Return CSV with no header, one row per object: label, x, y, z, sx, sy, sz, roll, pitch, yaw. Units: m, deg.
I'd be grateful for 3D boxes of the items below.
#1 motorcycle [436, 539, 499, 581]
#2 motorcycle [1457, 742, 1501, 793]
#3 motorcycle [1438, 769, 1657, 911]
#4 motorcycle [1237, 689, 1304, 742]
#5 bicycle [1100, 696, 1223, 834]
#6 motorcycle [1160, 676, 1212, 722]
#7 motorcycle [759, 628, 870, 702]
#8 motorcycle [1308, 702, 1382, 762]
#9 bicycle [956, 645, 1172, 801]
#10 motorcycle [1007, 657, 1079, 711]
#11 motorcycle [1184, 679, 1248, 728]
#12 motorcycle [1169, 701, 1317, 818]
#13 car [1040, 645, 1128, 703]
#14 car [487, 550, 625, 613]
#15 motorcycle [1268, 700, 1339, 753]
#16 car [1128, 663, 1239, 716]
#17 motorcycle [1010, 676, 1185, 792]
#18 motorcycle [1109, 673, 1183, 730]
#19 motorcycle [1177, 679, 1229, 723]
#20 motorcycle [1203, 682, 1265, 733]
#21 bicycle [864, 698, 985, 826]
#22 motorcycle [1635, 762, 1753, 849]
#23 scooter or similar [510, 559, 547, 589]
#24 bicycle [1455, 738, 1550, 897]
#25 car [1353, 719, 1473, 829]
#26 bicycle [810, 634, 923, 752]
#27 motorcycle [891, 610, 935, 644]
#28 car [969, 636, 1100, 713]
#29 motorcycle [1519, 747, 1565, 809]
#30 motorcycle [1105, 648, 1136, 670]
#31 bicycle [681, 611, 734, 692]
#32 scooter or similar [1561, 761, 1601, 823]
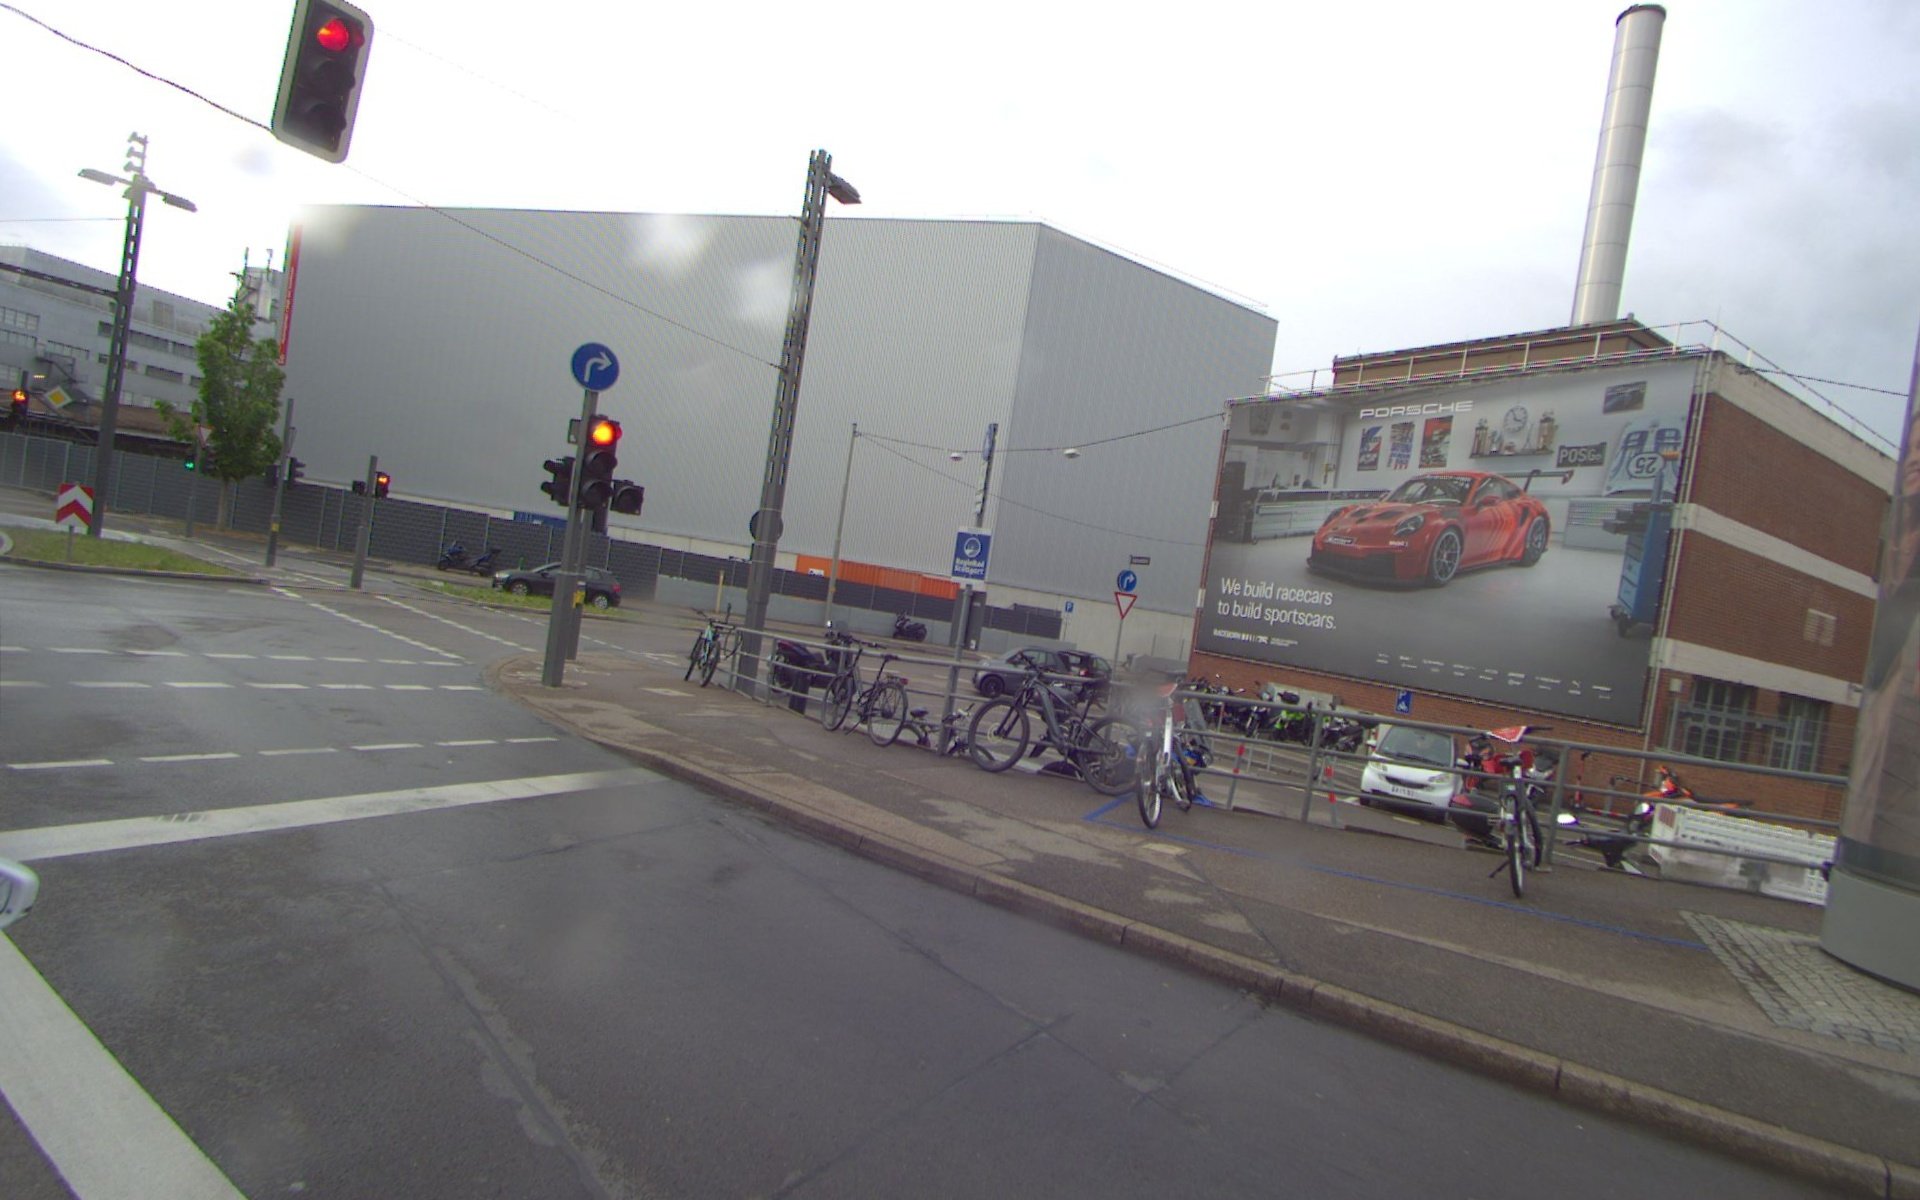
motorcycle,-19.823,-1.607,40.500,2.082,1.326,0.649,10,0,-33
motorcycle,11.383,3.646,22.042,0.533,0.984,1.613,6,-2,36
motorcycle,5.067,2.059,8.751,1.512,0.901,0.403,6,0,19
motorcycle,8.138,3.032,26.338,1.695,1.194,0.541,8,-2,-30
bicycle,1.728,1.323,8.422,0.414,0.973,1.744,6,-1,29
motorcycle,6.668,2.911,29.741,0.538,1.133,1.593,8,-2,-25
motorcycle,-2.616,1.208,18.356,0.481,1.158,2.086,6,-2,41
motorcycle,9.349,3.212,24.414,1.788,1.253,0.540,8,1,-30
bicycle,0.968,1.143,9.714,1.981,1.189,0.400,6,0,30
motorcycle,2.116,2.141,25.621,1.702,1.159,0.492,8,-2,-24
motorcycle,7.229,2.925,28.408,1.631,1.194,0.670,8,-2,-30
motorcycle,2.723,1.514,9.694,1.241,0.901,0.434,6,0,23
car,4.125,2.481,33.274,1.530,1.510,2.745,11,0,37
car,-13.482,-0.599,33.606,3.958,1.442,1.707,9,-1,-30
motorcycle,8.571,3.165,25.088,1.789,1.132,0.474,8,-2,-28
car,8.213,3.302,36.816,4.070,1.460,1.554,9,-2,-35
motorcycle,1.384,1.354,10.390,1.722,0.906,0.545,6,-1,44
motorcycle,4.455,2.433,24.236,0.539,1.123,1.850,8,-2,-32
motorcycle,7.386,3.059,30.629,0.538,1.123,1.639,8,-2,-25
motorcycle,7.428,2.921,27.252,1.631,1.194,0.541,8,-2,-30
bicycle,-0.431,1.752,11.137,0.344,1.097,1.728,7,-1,-35
motorcycle,14.130,3.939,19.403,1.639,1.349,0.524,6,-1,21
scooter or similar,-17.851,-1.060,41.625,1.247,1.041,0.385,9,0,0
bicycle,4.044,1.548,7.447,0.414,0.933,1.613,8,0,32
car,8.529,3.123,18.746,1.541,1.506,3.996,8,-1,29
bicycle,-1.086,1.012,11.321,0.344,1.097,1.728,7,-1,-35
motorcycle,-2.422,1.399,51.873,2.082,1.393,0.649,10,0,-33
car,1.976,2.003,27.386,3.190,1.521,1.624,9,0,-4
motorcycle,12.353,3.749,21.330,0.576,1.165,1.717,6,-2,36
motorcycle,10.218,3.742,64.119,0.622,1.088,1.906,8,0,-38
bicycle,-4.094,0.799,16.226,0.416,1.143,2.064,7,-2,-22
scooter or similar,12.895,3.963,20.882,0.496,1.109,1.635,6,-2,36
